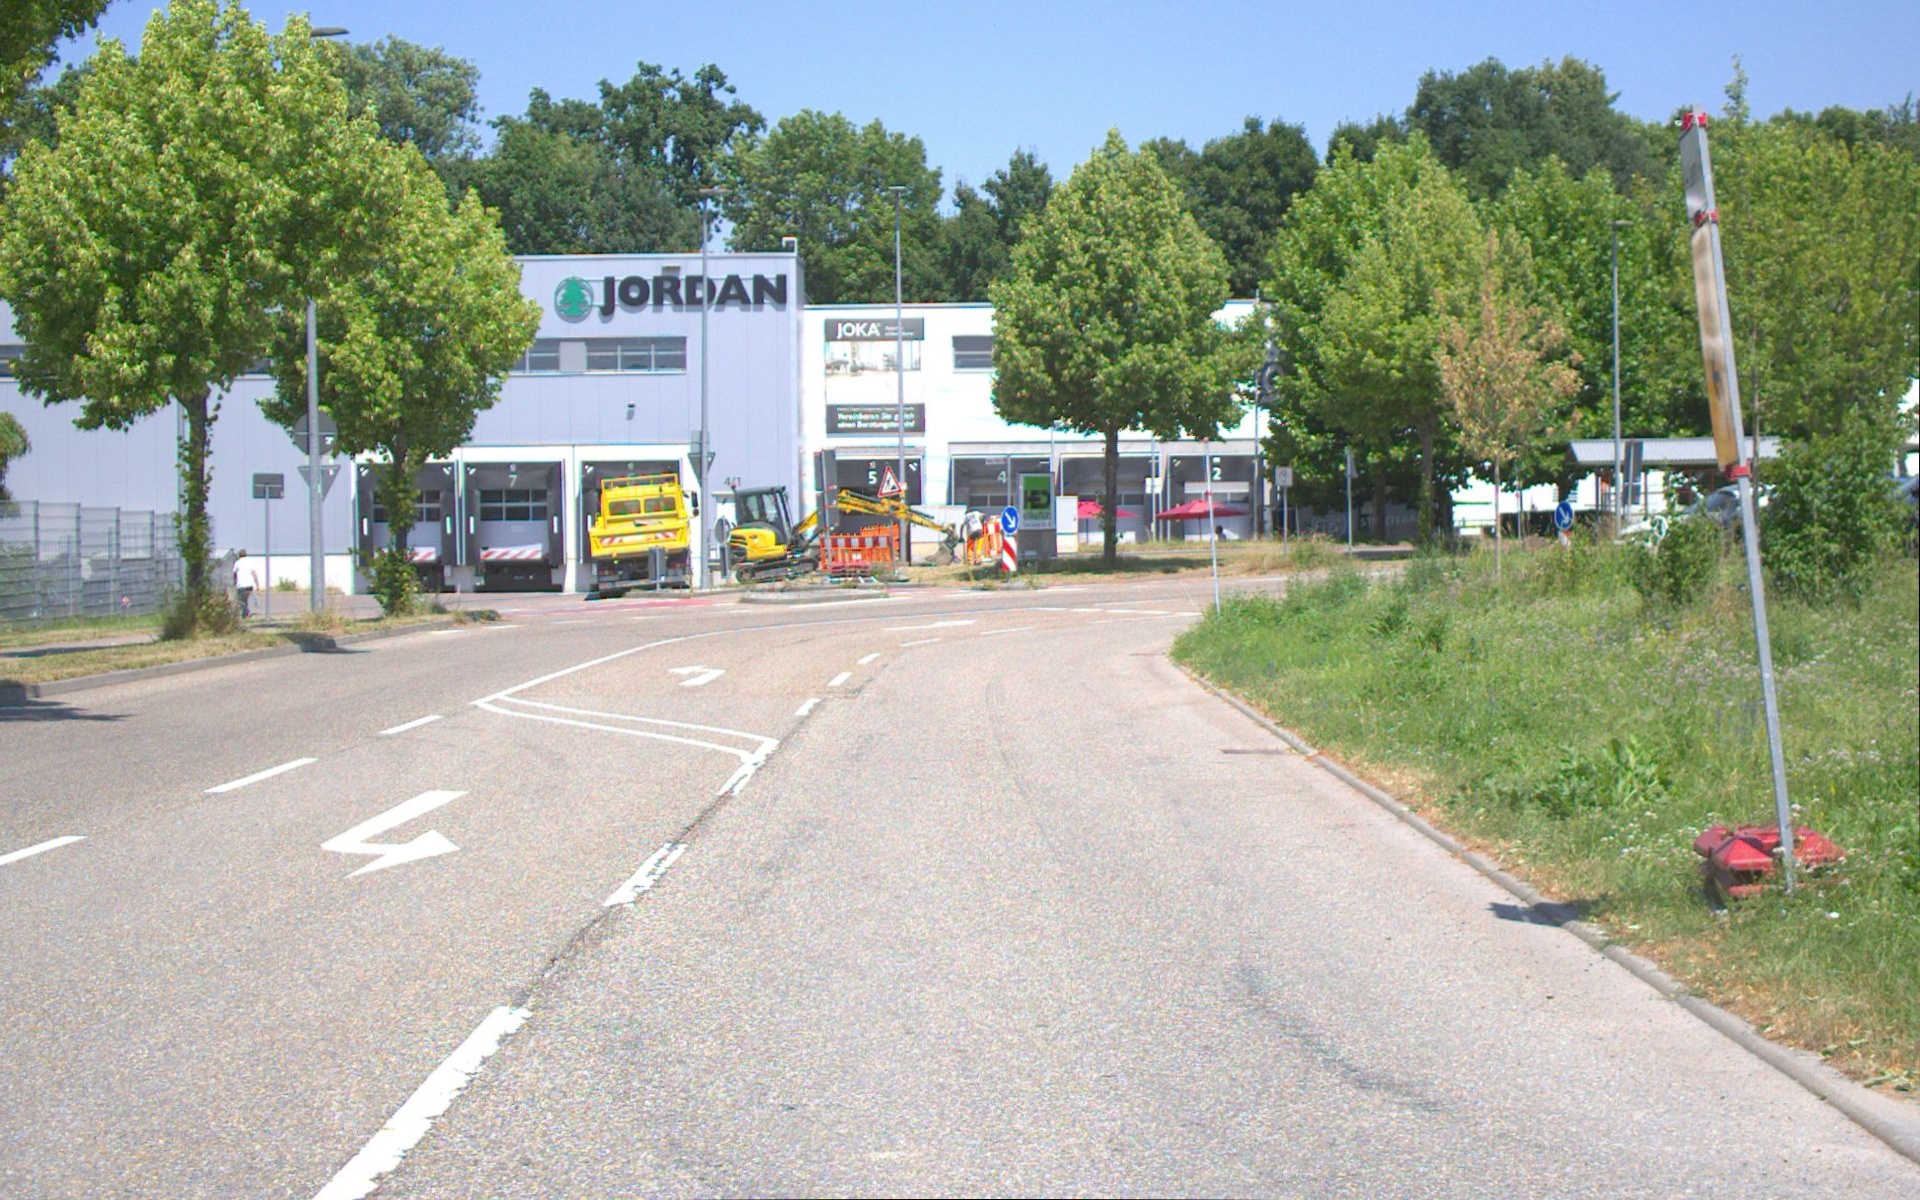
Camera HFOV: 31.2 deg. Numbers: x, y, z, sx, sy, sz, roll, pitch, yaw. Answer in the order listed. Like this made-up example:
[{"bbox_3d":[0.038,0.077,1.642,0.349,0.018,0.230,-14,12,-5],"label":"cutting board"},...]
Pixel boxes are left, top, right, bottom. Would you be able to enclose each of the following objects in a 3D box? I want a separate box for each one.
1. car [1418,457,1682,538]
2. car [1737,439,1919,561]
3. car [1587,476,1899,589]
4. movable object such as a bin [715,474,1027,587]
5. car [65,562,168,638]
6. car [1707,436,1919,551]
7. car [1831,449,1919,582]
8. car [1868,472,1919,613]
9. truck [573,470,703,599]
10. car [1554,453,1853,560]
[{"bbox_3d":[16.736,-2.905,97.783,7.172,2.080,2.000,-2,1,4],"label":"car"},{"bbox_3d":[12.508,-1.360,45.076,4.162,1.395,1.769,-2,5,-3],"label":"car"},{"bbox_3d":[11.583,-1.016,50.989,4.162,1.395,1.769,-2,5,-3],"label":"car"},{"bbox_3d":[-2.259,-1.827,89.685,7.528,2.491,3.666,-2,5,8],"label":"movable object such as a bin"},{"bbox_3d":[-21.594,-0.024,88.115,1.993,1.546,4.002,-3,5,-6],"label":"car"},{"bbox_3d":[12.777,-1.534,48.178,4.162,1.395,1.769,-2,5,-3],"label":"car"},{"bbox_3d":[12.459,-1.064,39.944,4.162,1.395,1.769,-2,5,-3],"label":"car"},{"bbox_3d":[12.195,-0.714,37.294,4.162,1.395,1.769,-2,5,-3],"label":"car"},{"bbox_3d":[-8.407,-1.758,89.241,2.938,2.875,5.812,-3,5,-8],"label":"truck"},{"bbox_3d":[11.454,-1.459,53.125,4.162,1.395,1.769,-2,5,-3],"label":"car"}]
